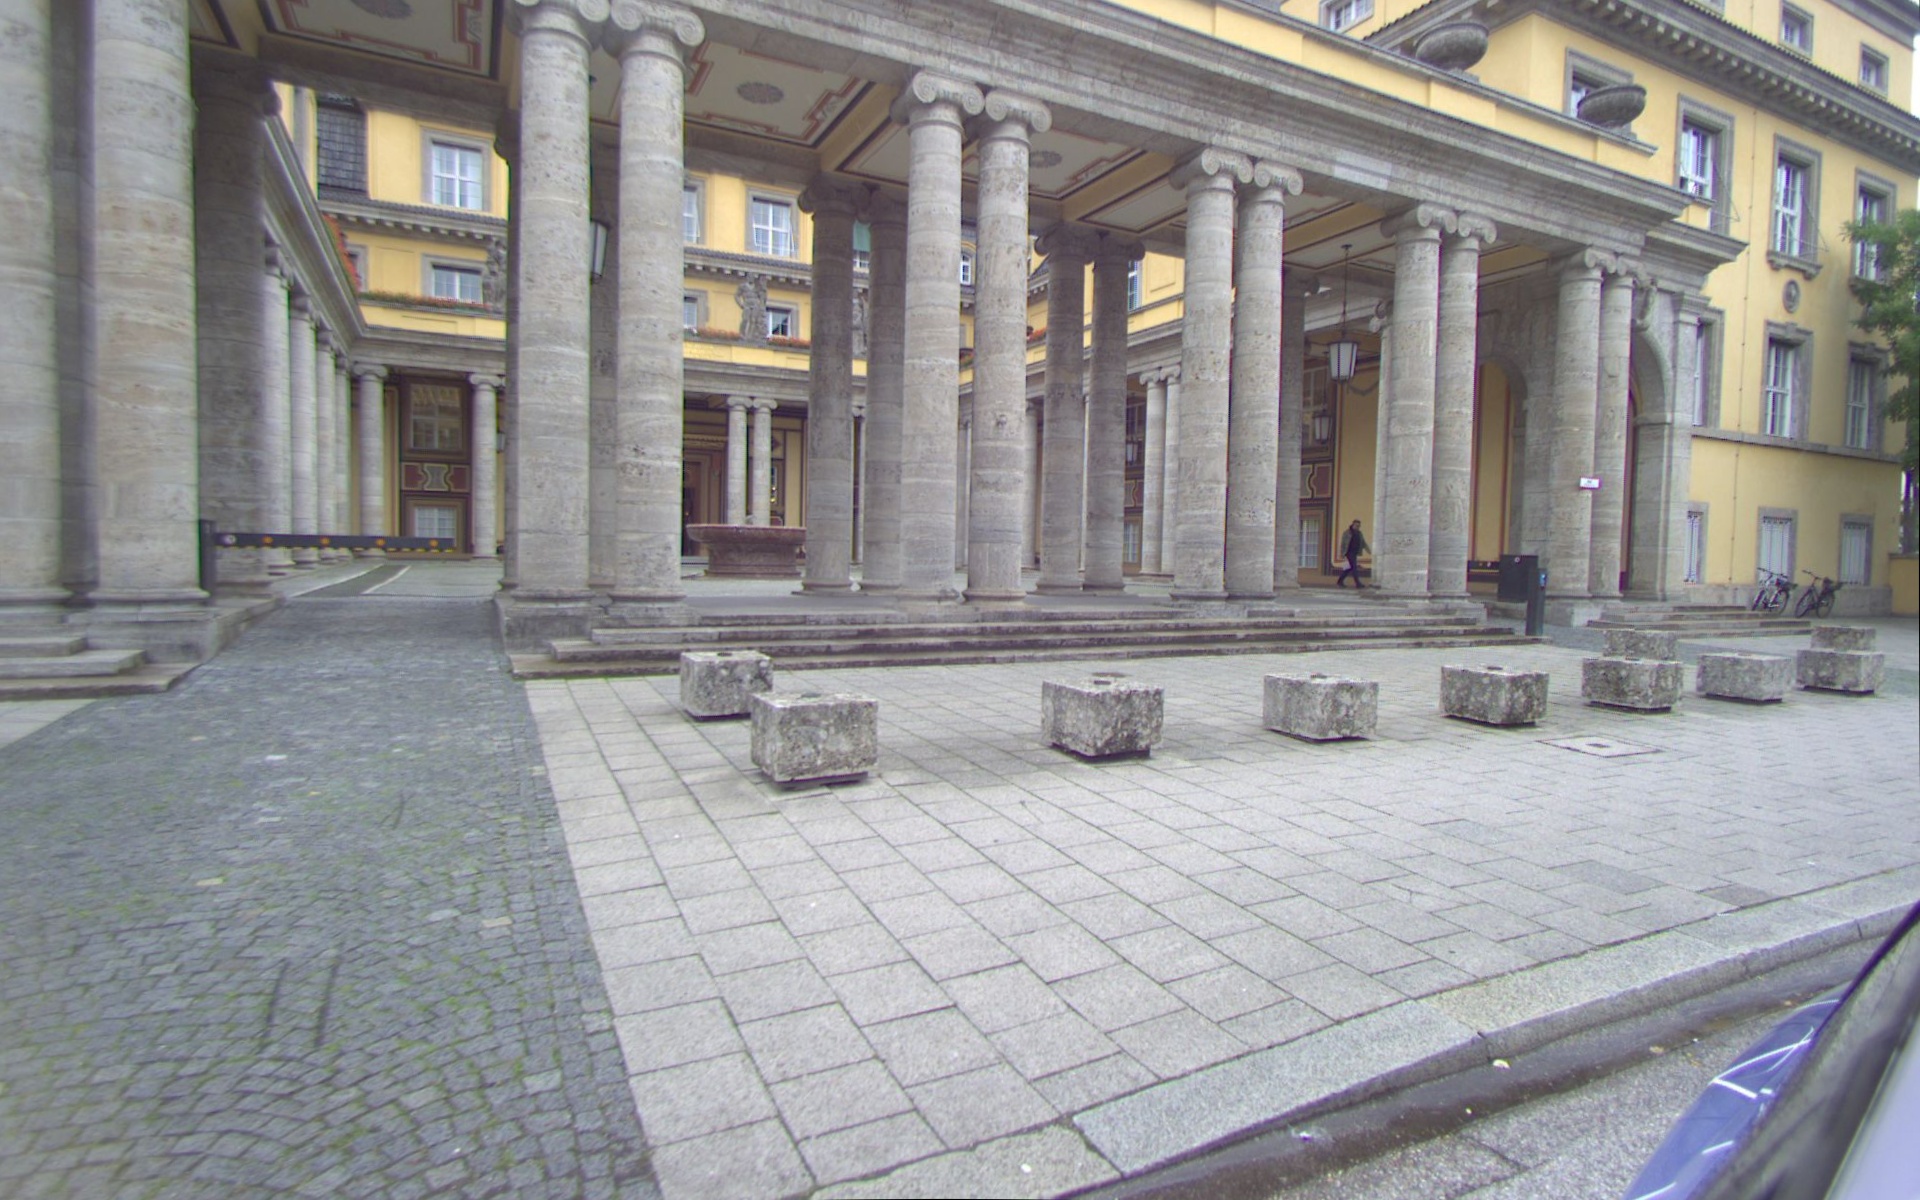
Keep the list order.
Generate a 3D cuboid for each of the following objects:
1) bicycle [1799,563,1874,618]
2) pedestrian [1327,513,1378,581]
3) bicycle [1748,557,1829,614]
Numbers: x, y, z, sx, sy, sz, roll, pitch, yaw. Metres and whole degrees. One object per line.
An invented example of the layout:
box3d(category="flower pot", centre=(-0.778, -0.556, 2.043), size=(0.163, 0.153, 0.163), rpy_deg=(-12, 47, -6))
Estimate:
box3d(category="bicycle", centre=(21.985, -0.237, 25.371), size=(2.121, 1.322, 0.603), rpy_deg=(0, 3, -27))
box3d(category="pedestrian", centre=(10.367, -1.388, 26.707), size=(0.792, 1.742, 0.984), rpy_deg=(-1, 0, -37))
box3d(category="bicycle", centre=(19.926, -0.348, 24.326), size=(2.217, 1.322, 0.603), rpy_deg=(0, 3, -27))
